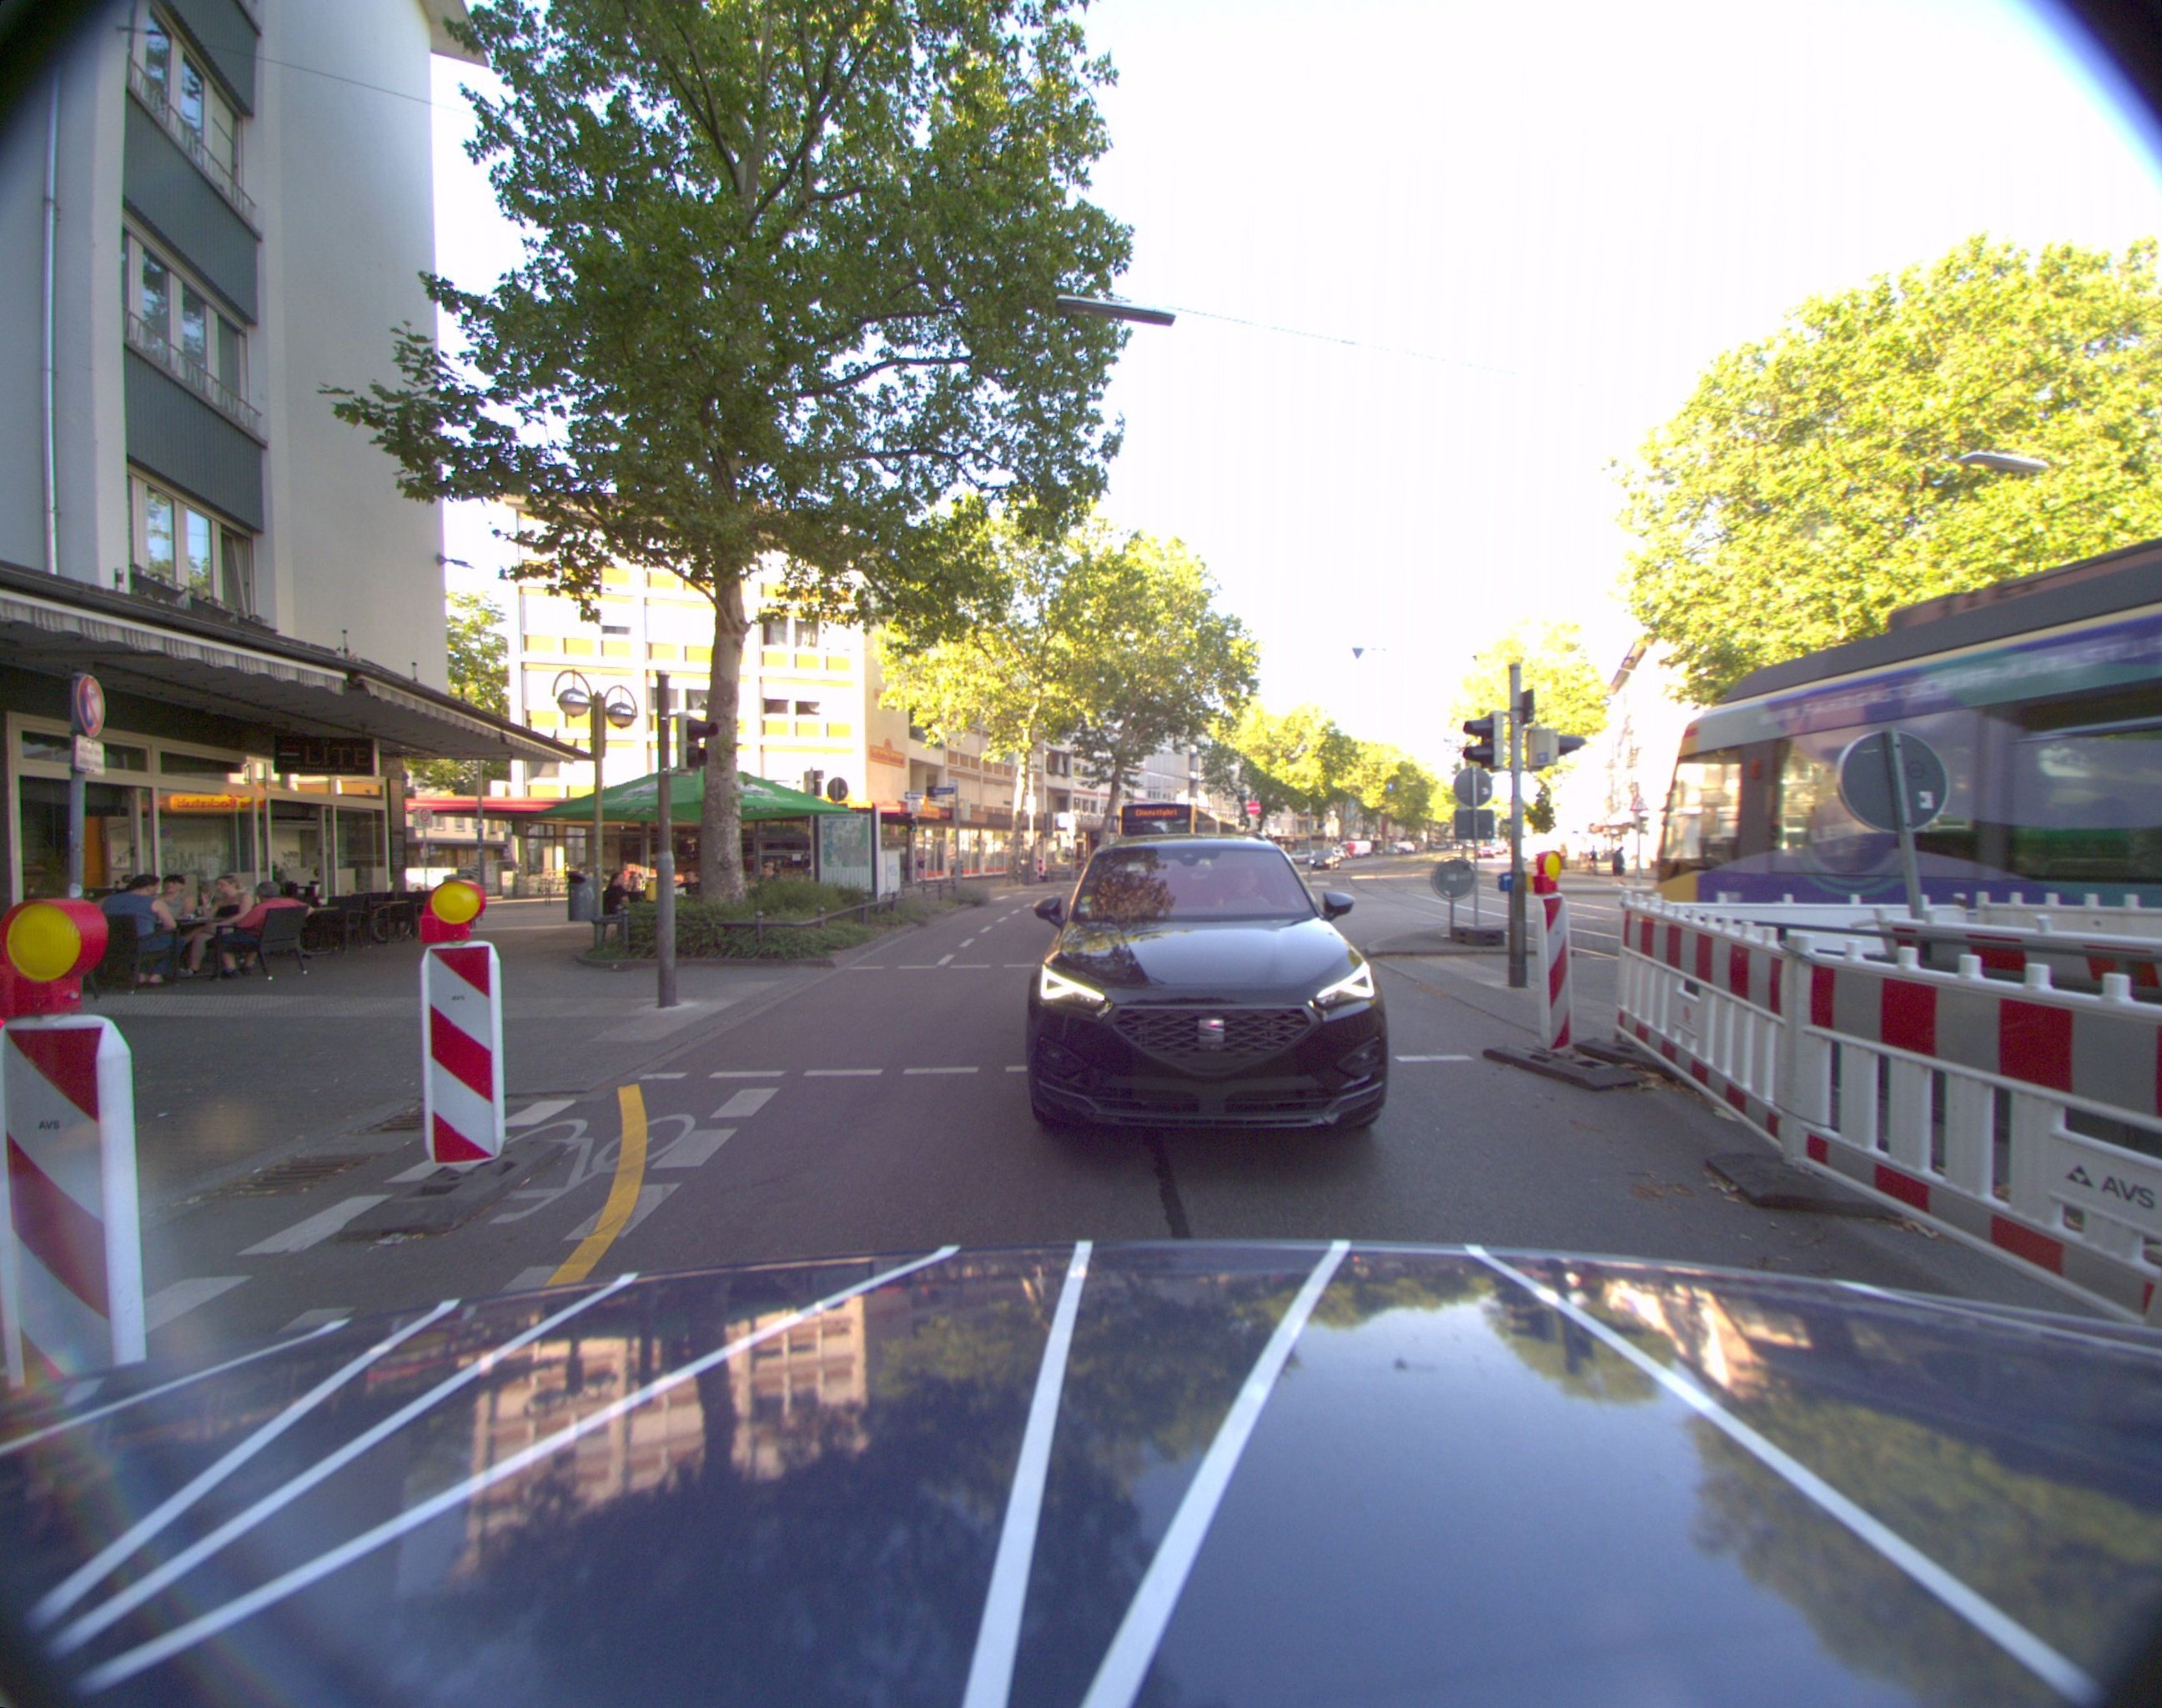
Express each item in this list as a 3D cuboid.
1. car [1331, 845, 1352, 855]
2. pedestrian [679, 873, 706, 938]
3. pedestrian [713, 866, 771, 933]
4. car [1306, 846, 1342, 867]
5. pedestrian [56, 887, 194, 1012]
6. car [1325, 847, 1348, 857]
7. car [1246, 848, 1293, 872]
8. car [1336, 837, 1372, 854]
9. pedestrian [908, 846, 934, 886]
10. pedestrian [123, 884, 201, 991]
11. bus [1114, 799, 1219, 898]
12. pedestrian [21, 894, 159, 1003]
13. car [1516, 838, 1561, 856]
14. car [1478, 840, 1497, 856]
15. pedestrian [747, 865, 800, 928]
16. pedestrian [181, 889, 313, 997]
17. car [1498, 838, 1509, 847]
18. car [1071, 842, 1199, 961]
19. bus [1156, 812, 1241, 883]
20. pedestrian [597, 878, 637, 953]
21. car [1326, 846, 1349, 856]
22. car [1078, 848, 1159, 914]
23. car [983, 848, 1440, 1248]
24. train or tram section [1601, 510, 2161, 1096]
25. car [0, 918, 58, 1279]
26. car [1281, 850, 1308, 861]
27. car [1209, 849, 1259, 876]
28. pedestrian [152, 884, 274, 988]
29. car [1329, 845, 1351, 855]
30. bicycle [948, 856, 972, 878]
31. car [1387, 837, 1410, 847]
[{"bbox_3d":[36.695,-0.625,106.987,2.627,1.338,1.201,-1,2,3],"label":"car"},{"bbox_3d":[-7.413,0.967,14.492,0.433,1.212,0.467,1,1,-29],"label":"pedestrian"},{"bbox_3d":[-6.810,0.895,15.269,0.718,1.278,0.769,-1,1,14],"label":"pedestrian"},{"bbox_3d":[18.385,0.172,57.369,1.952,1.467,4.764,0,1,26],"label":"car"},{"bbox_3d":[-10.220,0.989,8.157,0.651,1.244,0.716,1,0,-24],"label":"pedestrian"},{"bbox_3d":[32.897,-0.290,97.851,2.627,1.274,1.201,-1,2,3],"label":"car"},{"bbox_3d":[13.688,0.397,55.019,1.952,1.541,4.765,0,2,31],"label":"car"},{"bbox_3d":[40.624,-1.290,113.131,4.868,2.362,1.878,-1,2,-10],"label":"car"},{"bbox_3d":[-6.988,0.521,33.210,0.748,1.747,0.903,0,1,17],"label":"pedestrian"},{"bbox_3d":[-11.244,0.991,9.300,0.519,1.236,0.553,0,0,34],"label":"pedestrian"},{"bbox_3d":[3.524,-0.216,28.625,2.750,3.085,9.506,0,1,14],"label":"bus"},{"bbox_3d":[-11.087,1.031,8.532,0.718,1.123,0.649,1,0,-24],"label":"pedestrian"},{"bbox_3d":[52.202,-0.813,86.713,3.999,1.904,1.998,-1,1,-7],"label":"car"},{"bbox_3d":[51.115,-0.762,95.479,1.994,1.856,4.007,0,1,31],"label":"car"},{"bbox_3d":[-6.543,0.892,16.193,0.718,1.278,0.769,-1,1,13],"label":"pedestrian"},{"bbox_3d":[-9.848,1.024,9.008,0.847,1.191,0.649,1,0,-22],"label":"pedestrian"},{"bbox_3d":[88.264,-2.433,158.694,1.903,1.893,4.007,0,1,29],"label":"car"},{"bbox_3d":[0.969,0.650,12.796,1.743,1.630,4.300,-2,0,6],"label":"car"},{"bbox_3d":[6.060,-0.326,37.739,2.749,3.085,9.508,0,1,17],"label":"bus"},{"bbox_3d":[-7.802,1.017,12.778,0.469,1.212,0.431,-2,1,-44],"label":"pedestrian"},{"bbox_3d":[34.046,-0.376,100.952,2.627,1.274,1.201,-1,2,3],"label":"car"},{"bbox_3d":[1.100,0.633,20.160,1.743,1.492,4.301,-2,0,7],"label":"car"},{"bbox_3d":[0.684,0.809,5.320,1.848,1.648,4.300,-2,0,4],"label":"car"},{"bbox_3d":[7.834,-0.316,4.027,2.843,3.467,10.335,-1,1,-2],"label":"train or tram section"},{"bbox_3d":[-5.149,0.997,1.434,1.623,1.457,3.604,2,0,-2],"label":"car"},{"bbox_3d":[23.914,0.163,85.035,2.629,1.209,1.200,-1,2,-6],"label":"car"},{"bbox_3d":[9.369,0.461,46.182,1.908,1.467,4.425,0,2,26],"label":"car"},{"bbox_3d":[-10.693,0.991,9.388,0.666,1.211,0.717,0,0,-5],"label":"pedestrian"},{"bbox_3d":[35.516,-0.524,104.234,2.627,1.380,1.201,-1,2,3],"label":"car"},{"bbox_3d":[-6.673,0.708,42.041,0.528,1.136,1.976,0,1,15],"label":"bicycle"},{"bbox_3d":[64.304,-2.445,153.885,4.000,2.002,1.879,-1,1,-8],"label":"car"}]
